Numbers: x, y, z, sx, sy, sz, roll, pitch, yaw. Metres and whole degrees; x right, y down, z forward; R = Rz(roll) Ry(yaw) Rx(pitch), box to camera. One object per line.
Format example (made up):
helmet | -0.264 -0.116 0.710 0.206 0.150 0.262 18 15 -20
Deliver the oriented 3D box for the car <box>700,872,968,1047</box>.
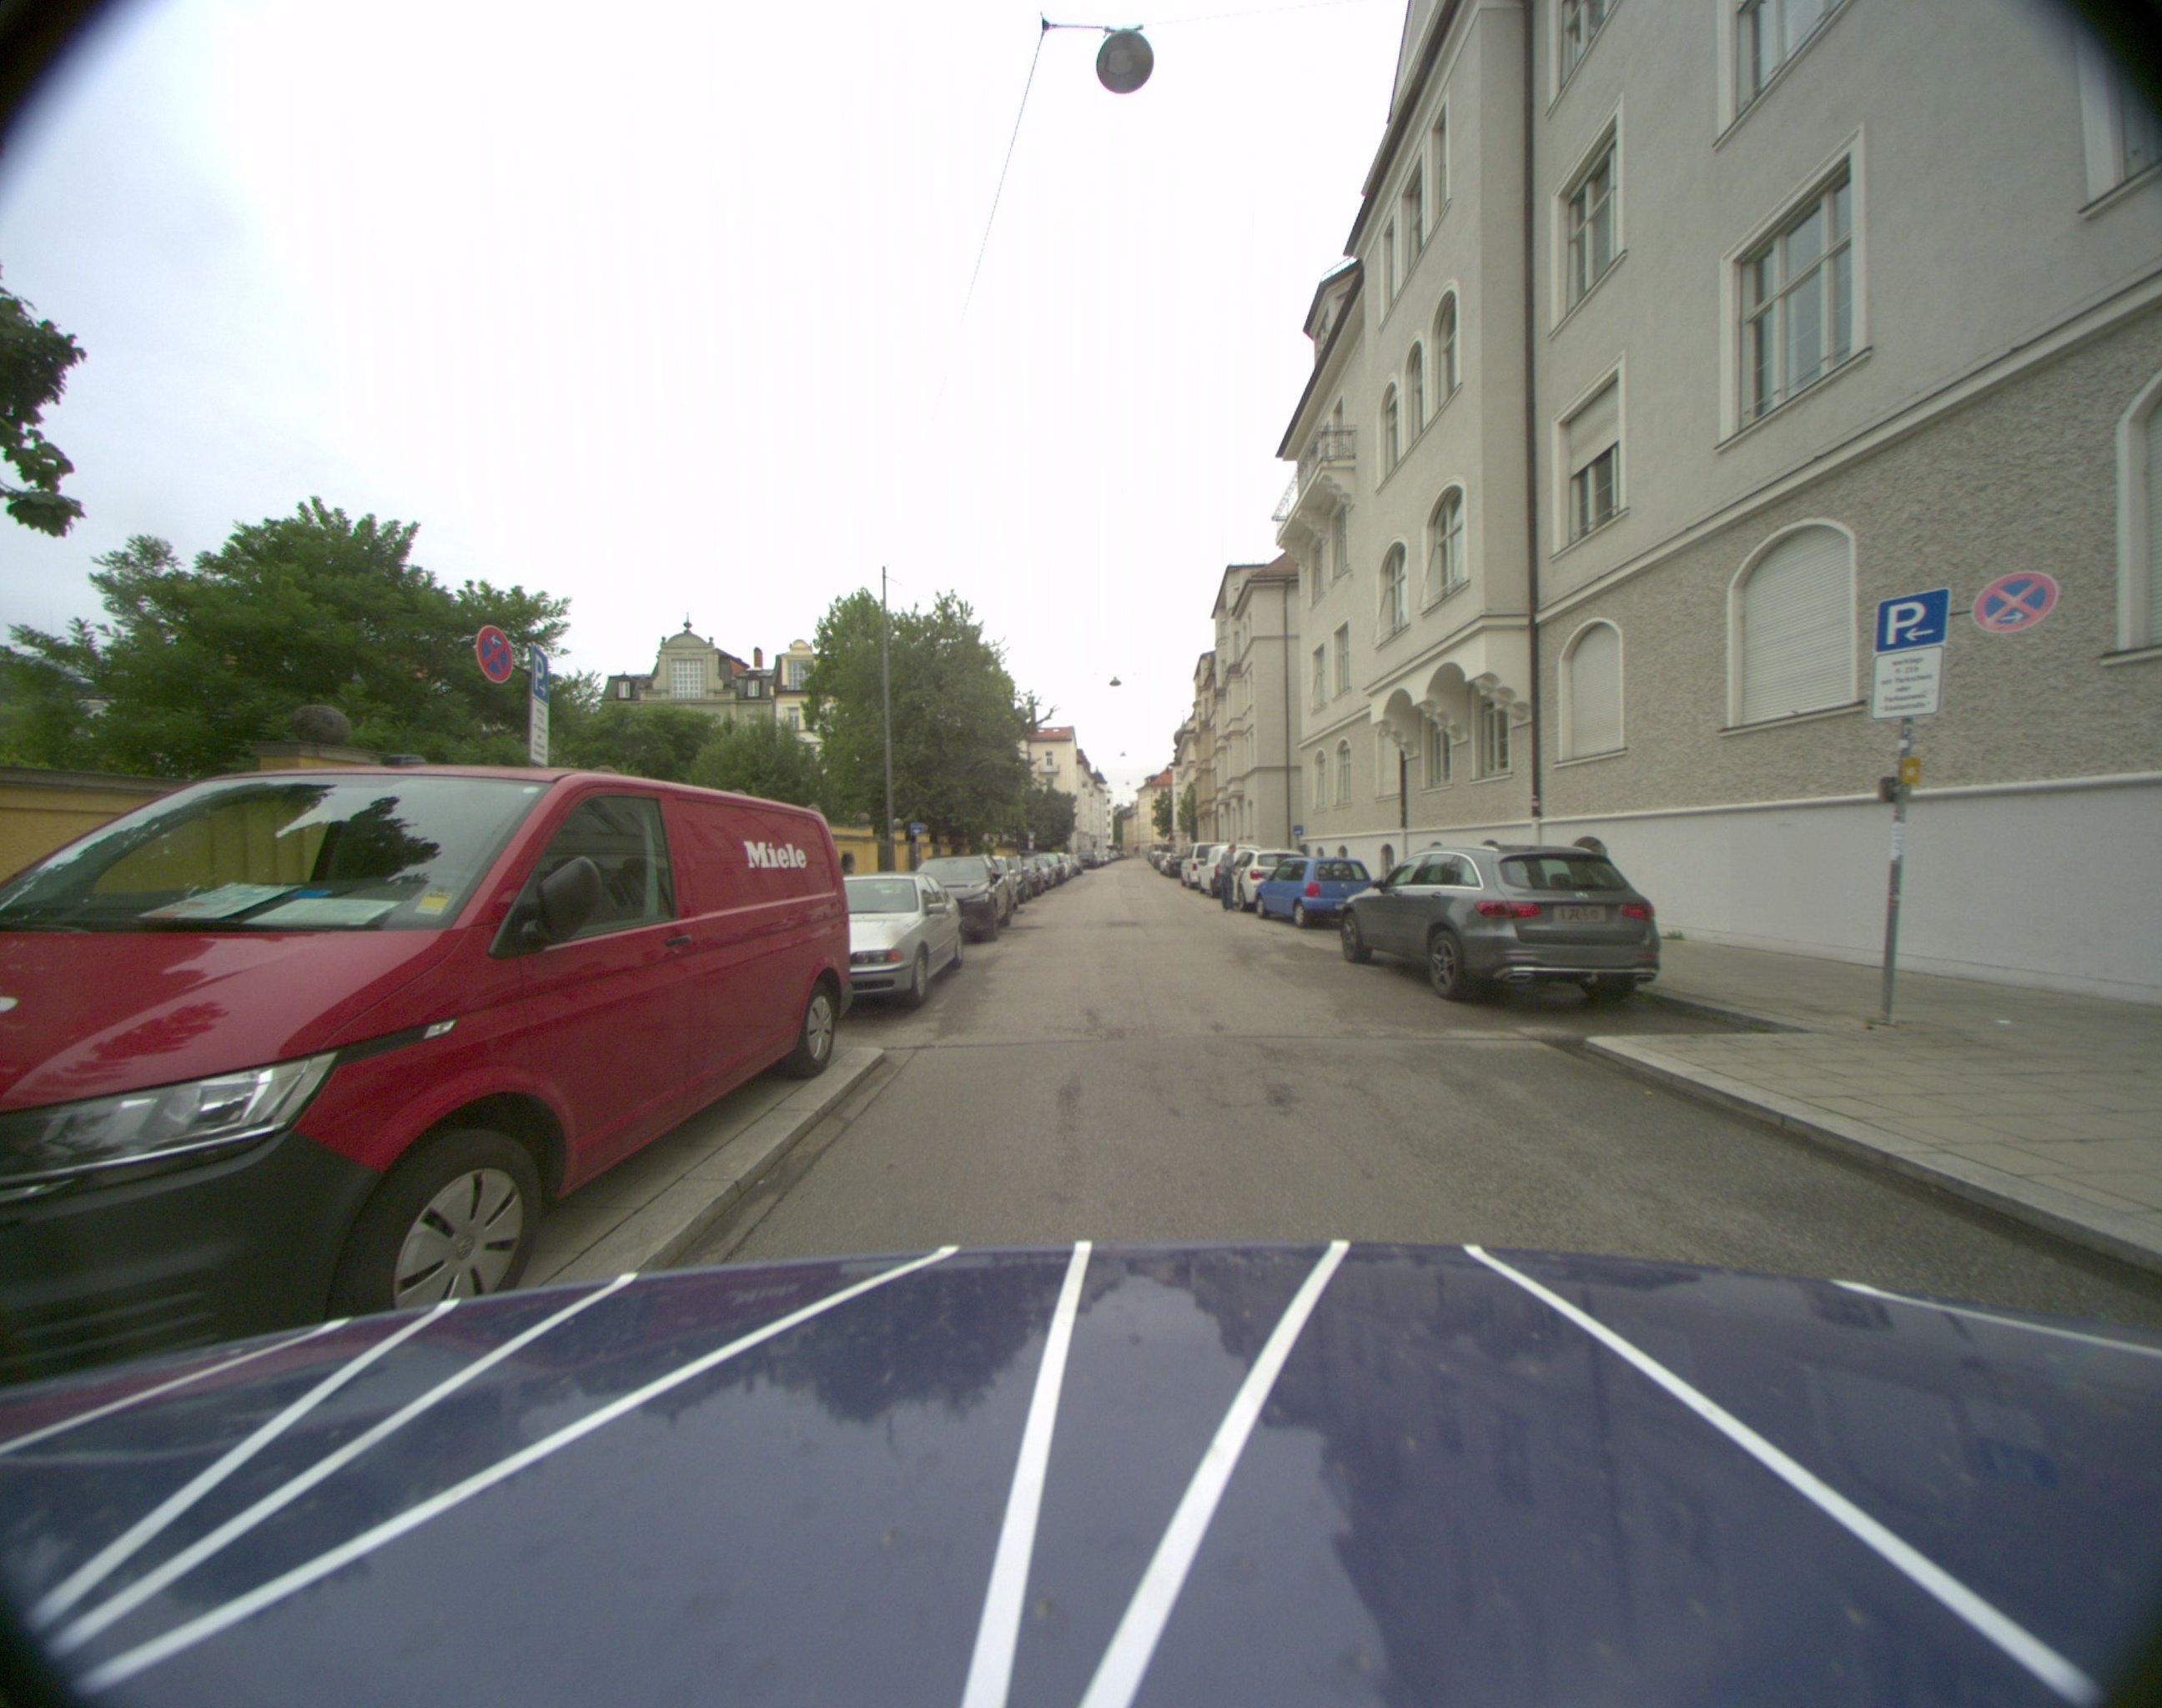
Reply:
car | -2.671 1.057 9.426 1.889 1.440 4.368 -3 0 -1

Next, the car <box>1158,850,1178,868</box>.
car | 7.622 0.426 66.882 1.626 1.448 3.942 0 1 5

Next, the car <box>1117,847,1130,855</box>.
car | 8.960 -0.610 159.985 1.997 1.585 4.301 -4 0 9

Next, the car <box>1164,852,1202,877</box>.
car | 6.209 0.586 46.664 1.860 1.404 4.379 1 1 2

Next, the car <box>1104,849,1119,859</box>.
car | 4.978 -0.005 124.406 1.998 1.585 4.300 -4 0 6

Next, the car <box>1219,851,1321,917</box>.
car | 5.073 0.736 21.047 1.751 1.593 4.496 0 1 1

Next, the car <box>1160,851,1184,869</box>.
car | 7.403 0.476 61.959 1.809 1.355 3.730 0 1 4

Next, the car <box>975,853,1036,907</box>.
car | -2.408 0.806 24.833 1.511 1.557 2.869 -3 1 3

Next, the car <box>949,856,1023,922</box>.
car | -2.462 0.859 20.402 1.488 1.530 3.692 -3 0 -1

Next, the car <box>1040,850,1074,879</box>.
car | -1.373 0.576 45.021 1.717 1.561 4.320 -1 1 2

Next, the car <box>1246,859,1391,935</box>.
car | 4.996 0.845 16.515 1.697 1.406 3.660 0 1 -6

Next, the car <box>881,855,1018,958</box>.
car | -2.470 0.906 15.518 1.889 1.643 4.823 -3 0 0

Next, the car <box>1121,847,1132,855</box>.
car | 10.122 -0.659 168.791 1.997 1.585 4.302 -4 0 10

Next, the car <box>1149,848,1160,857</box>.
car | 12.481 -0.254 128.921 1.626 1.522 3.921 0 1 4

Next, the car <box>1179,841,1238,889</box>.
car | 5.460 0.421 33.152 1.860 1.927 4.957 0 1 2

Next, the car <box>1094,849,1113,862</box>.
car | 2.980 0.192 99.622 1.998 1.585 4.300 -4 0 6

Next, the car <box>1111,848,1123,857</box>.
car | 6.811 -0.277 144.657 1.998 1.585 4.300 -4 0 6

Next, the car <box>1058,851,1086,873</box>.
car | -0.599 0.533 54.573 1.717 1.445 4.955 -1 1 2

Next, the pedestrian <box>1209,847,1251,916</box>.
pedestrian | 3.873 0.692 19.817 0.963 1.745 0.877 -1 1 4

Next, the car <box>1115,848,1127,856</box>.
car | 8.248 -0.418 155.152 1.997 1.585 4.429 -4 0 7

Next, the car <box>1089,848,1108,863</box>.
car | 2.009 0.198 87.446 1.998 1.585 4.299 -4 0 3

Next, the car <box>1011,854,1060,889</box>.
car | -1.946 0.736 33.811 1.696 1.406 4.516 -1 1 3

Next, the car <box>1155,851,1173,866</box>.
car | 7.865 0.411 72.535 1.626 1.421 3.942 0 1 5

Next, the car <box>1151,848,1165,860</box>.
car | 10.354 -0.004 102.379 1.626 1.522 3.690 0 1 4

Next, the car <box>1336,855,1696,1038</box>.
car | 4.646 0.832 9.061 1.751 1.593 4.496 0 1 1

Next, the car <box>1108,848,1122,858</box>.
car | 6.075 -0.165 135.085 1.998 1.585 4.300 -4 0 6

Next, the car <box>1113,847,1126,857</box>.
car | 7.633 -0.367 149.746 1.997 1.672 4.301 -4 0 7

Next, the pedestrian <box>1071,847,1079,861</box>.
pedestrian | -0.759 -0.038 92.414 0.876 1.680 1.052 -1 1 3

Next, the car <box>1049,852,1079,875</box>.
car | -1.085 0.597 49.843 1.717 1.445 4.184 -1 1 2

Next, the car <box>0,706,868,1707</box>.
car | -2.740 0.718 3.686 1.878 1.909 4.887 -2 0 1

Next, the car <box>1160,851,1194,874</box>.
car | 6.488 0.528 51.715 1.860 1.455 4.379 0 1 2

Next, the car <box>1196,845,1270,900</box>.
car | 5.264 0.566 26.995 1.751 1.778 5.036 0 1 2

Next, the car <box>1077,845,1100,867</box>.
car | 0.751 0.181 72.349 1.998 1.949 4.434 -4 0 2

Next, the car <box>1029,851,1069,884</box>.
car | -1.611 0.649 39.836 1.717 1.561 4.691 -1 1 2

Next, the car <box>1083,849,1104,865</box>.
car | 1.391 0.319 82.519 1.998 1.643 4.449 -4 0 2

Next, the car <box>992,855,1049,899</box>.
car | -2.216 0.811 28.830 1.696 1.406 4.036 -3 1 1
